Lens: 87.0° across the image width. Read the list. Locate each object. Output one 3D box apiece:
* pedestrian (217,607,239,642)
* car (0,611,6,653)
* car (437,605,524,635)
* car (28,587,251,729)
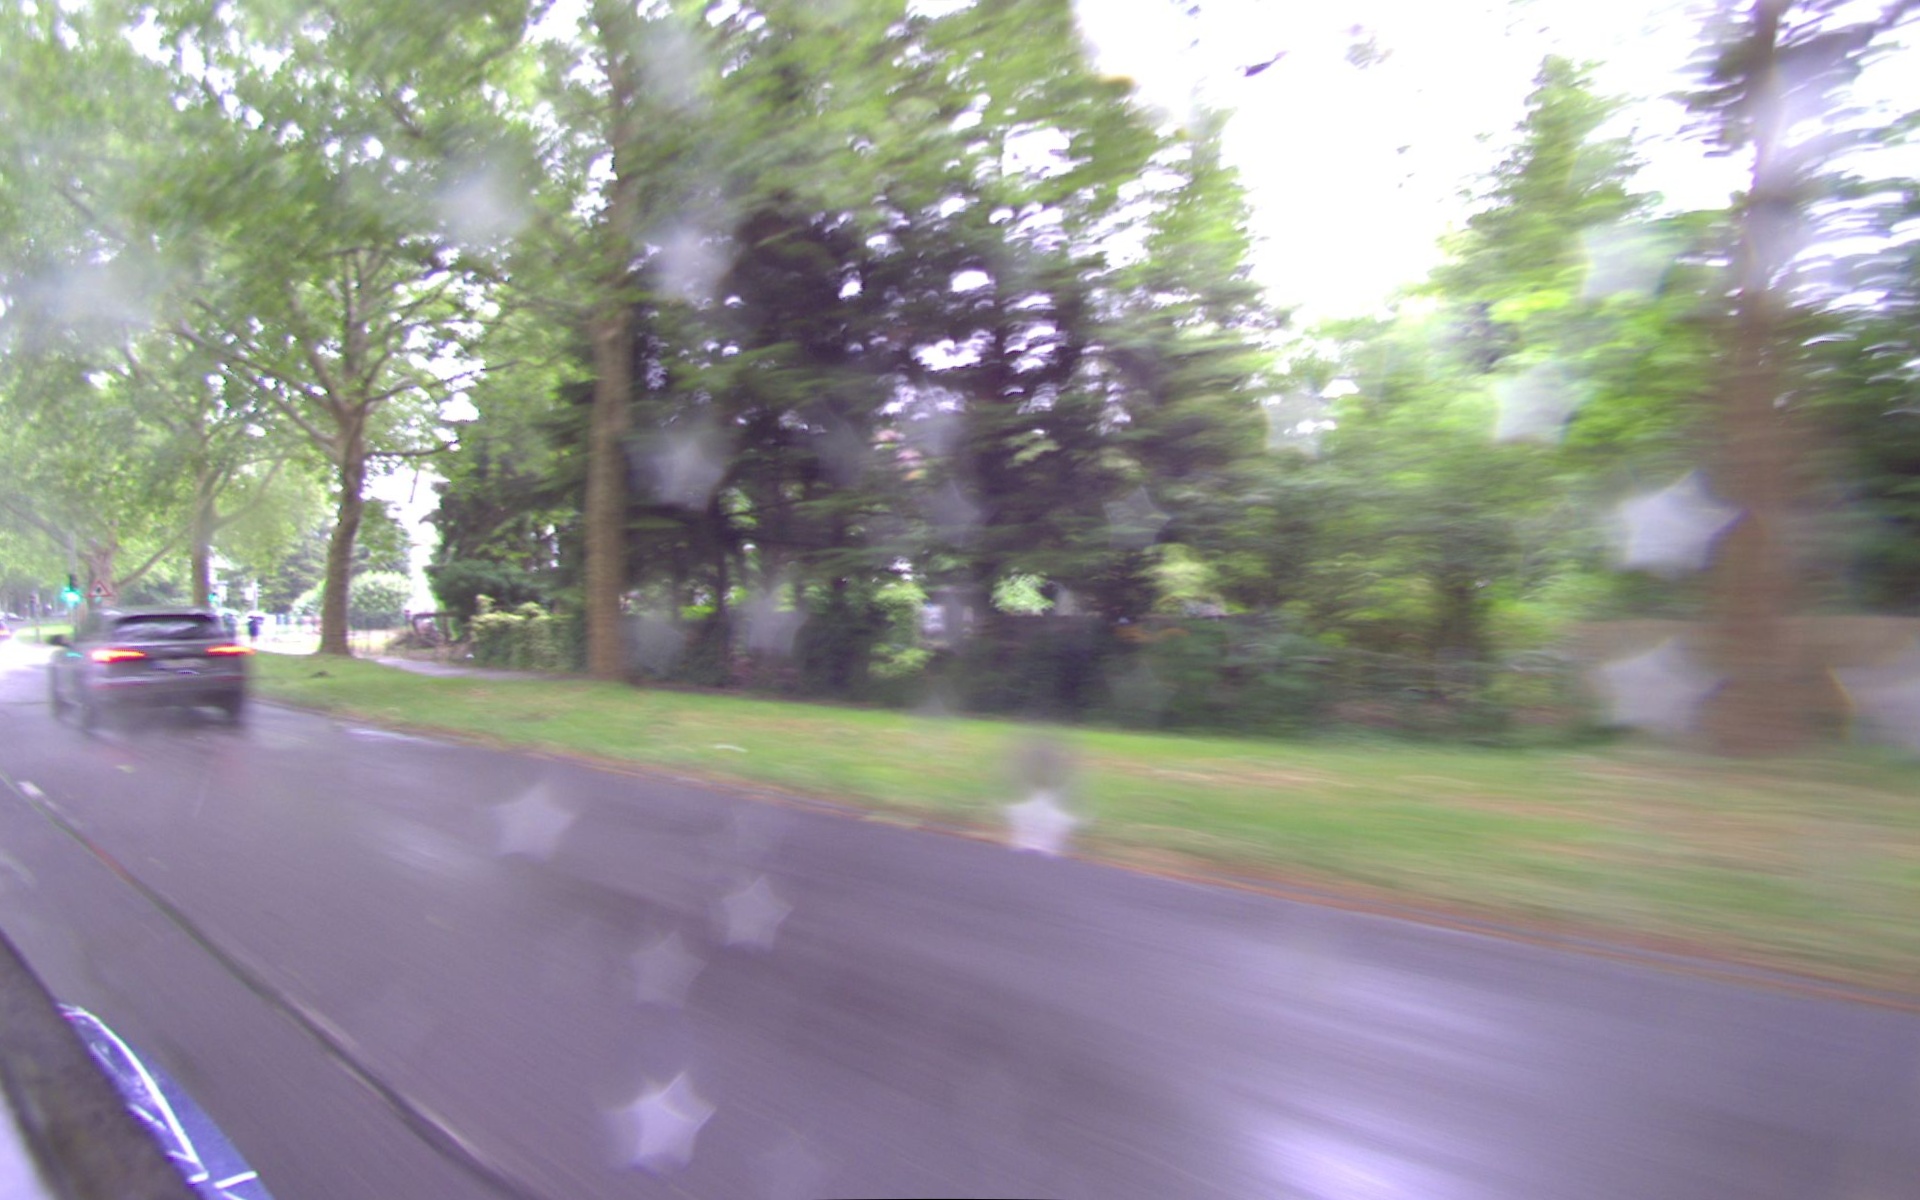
[{"bbox_3d":[-31.557,1.039,43.648,0.857,1.464,0.591,-1,0,44],"label":"pedestrian"},{"bbox_3d":[-40.477,1.331,41.451,4.774,1.667,1.798,-1,1,44],"label":"car"},{"bbox_3d":[-30.314,1.219,64.071,4.647,1.700,2.004,-2,1,-40],"label":"car"},{"bbox_3d":[-12.017,0.738,14.721,4.453,1.741,1.790,-1,1,42],"label":"car"}]
